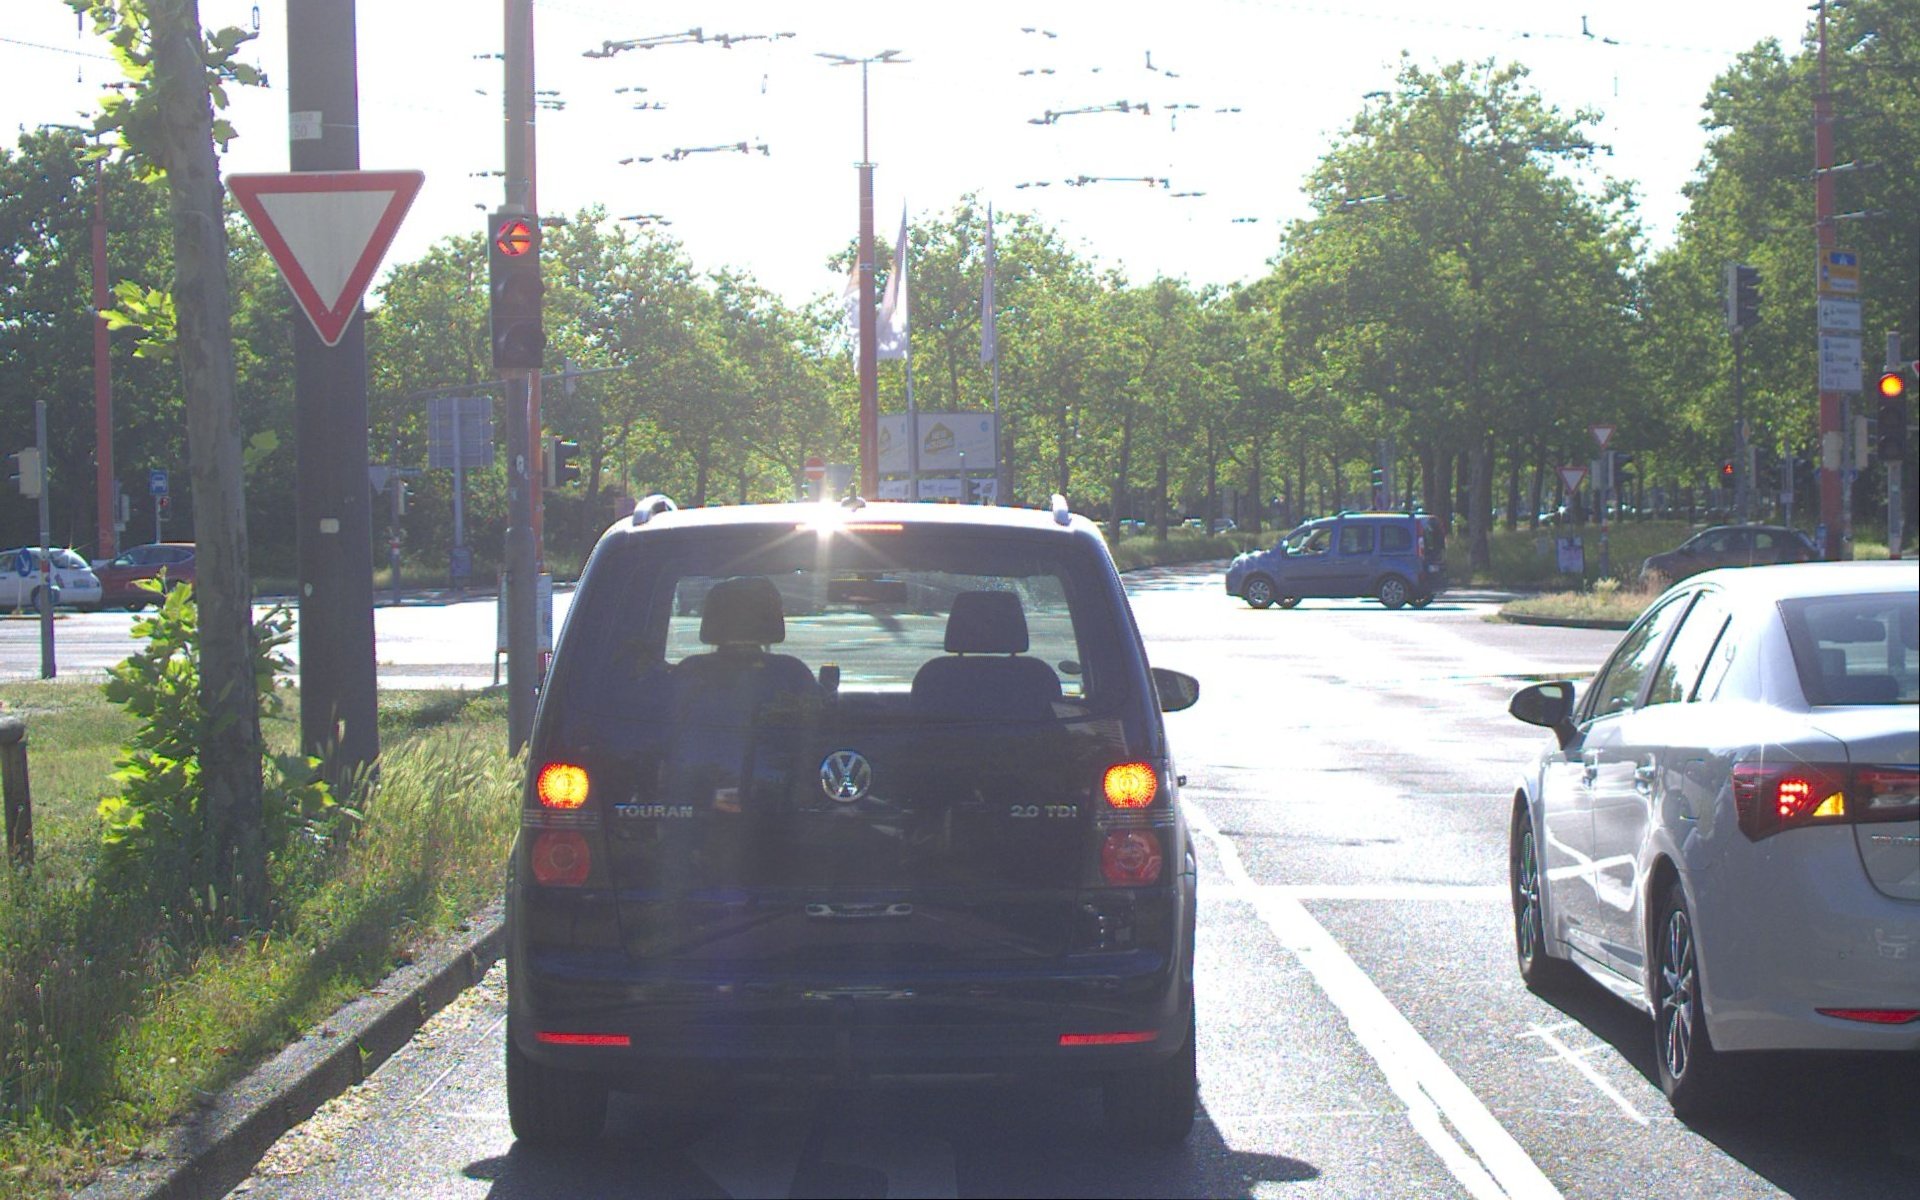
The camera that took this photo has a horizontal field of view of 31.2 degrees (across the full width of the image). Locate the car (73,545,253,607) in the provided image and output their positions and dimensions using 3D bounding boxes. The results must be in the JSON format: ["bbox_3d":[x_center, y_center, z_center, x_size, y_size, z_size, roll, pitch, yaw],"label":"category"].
[{"bbox_3d":[-19.360,-0.602,83.459,4.124,1.466,1.654,1,1,26],"label":"car"}]

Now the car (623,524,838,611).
[{"bbox_3d":[-4.810,-0.706,72.091,4.123,1.784,1.797,1,1,23],"label":"car"}]

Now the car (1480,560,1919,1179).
[{"bbox_3d":[2.757,0.616,10.158,1.799,1.435,4.326,1,1,1],"label":"car"}]

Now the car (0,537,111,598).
[{"bbox_3d":[-22.000,-0.772,80.372,4.125,1.398,1.654,1,1,27],"label":"car"}]

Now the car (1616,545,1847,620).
[{"bbox_3d":[14.982,-0.359,66.768,4.124,1.398,1.654,1,1,25],"label":"car"}]

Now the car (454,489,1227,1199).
[{"bbox_3d":[-0.254,0.536,9.980,1.738,1.597,4.326,1,1,1],"label":"car"}]

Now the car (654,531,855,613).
[{"bbox_3d":[-4.576,-0.638,76.649,4.124,1.784,1.796,1,1,26],"label":"car"}]

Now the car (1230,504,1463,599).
[{"bbox_3d":[7.474,-0.948,66.492,4.124,1.784,1.796,1,1,24],"label":"car"}]
